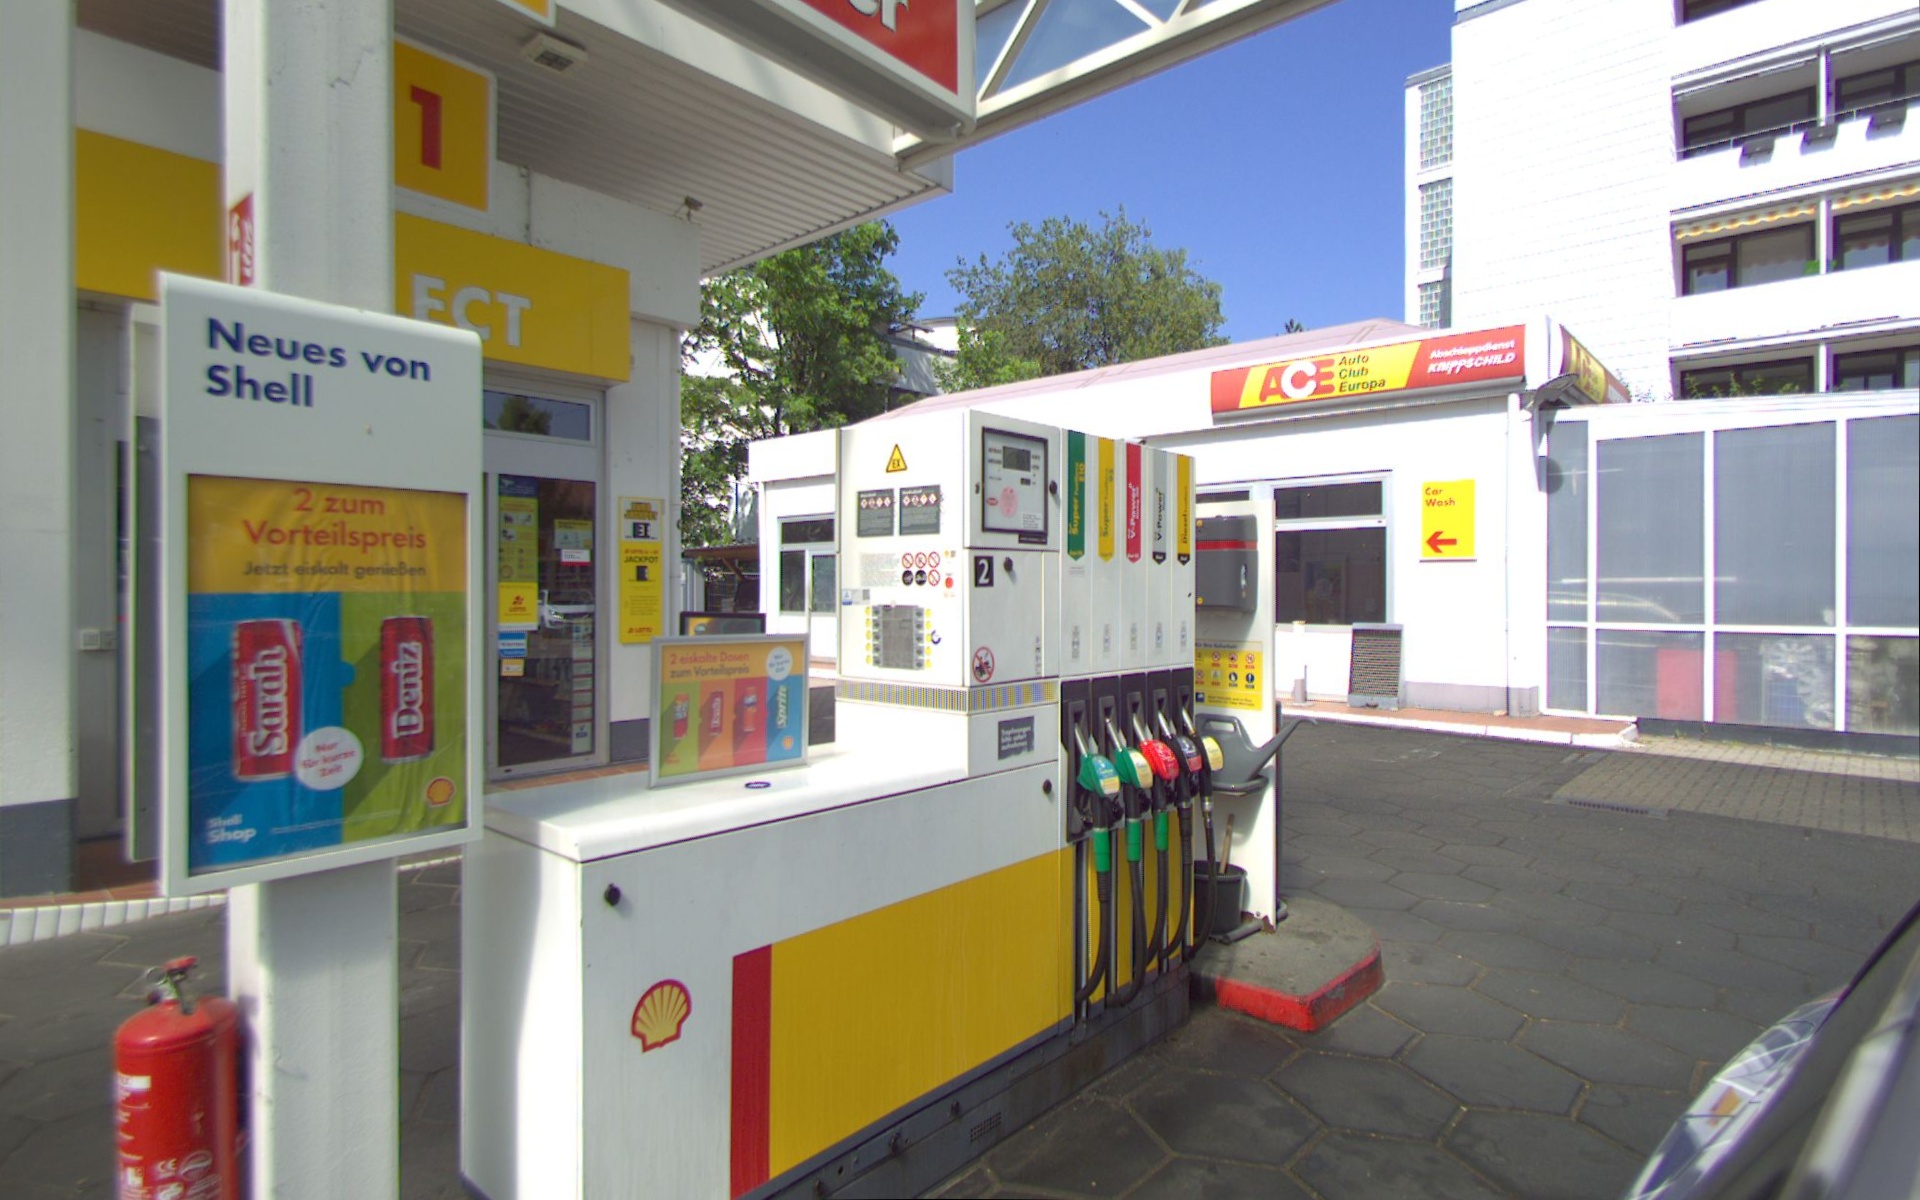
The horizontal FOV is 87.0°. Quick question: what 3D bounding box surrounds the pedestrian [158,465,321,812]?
[{"bbox_3d":[-4.561,0.220,6.413,0.737,2.039,0.616,0,0,33],"label":"pedestrian"}]
